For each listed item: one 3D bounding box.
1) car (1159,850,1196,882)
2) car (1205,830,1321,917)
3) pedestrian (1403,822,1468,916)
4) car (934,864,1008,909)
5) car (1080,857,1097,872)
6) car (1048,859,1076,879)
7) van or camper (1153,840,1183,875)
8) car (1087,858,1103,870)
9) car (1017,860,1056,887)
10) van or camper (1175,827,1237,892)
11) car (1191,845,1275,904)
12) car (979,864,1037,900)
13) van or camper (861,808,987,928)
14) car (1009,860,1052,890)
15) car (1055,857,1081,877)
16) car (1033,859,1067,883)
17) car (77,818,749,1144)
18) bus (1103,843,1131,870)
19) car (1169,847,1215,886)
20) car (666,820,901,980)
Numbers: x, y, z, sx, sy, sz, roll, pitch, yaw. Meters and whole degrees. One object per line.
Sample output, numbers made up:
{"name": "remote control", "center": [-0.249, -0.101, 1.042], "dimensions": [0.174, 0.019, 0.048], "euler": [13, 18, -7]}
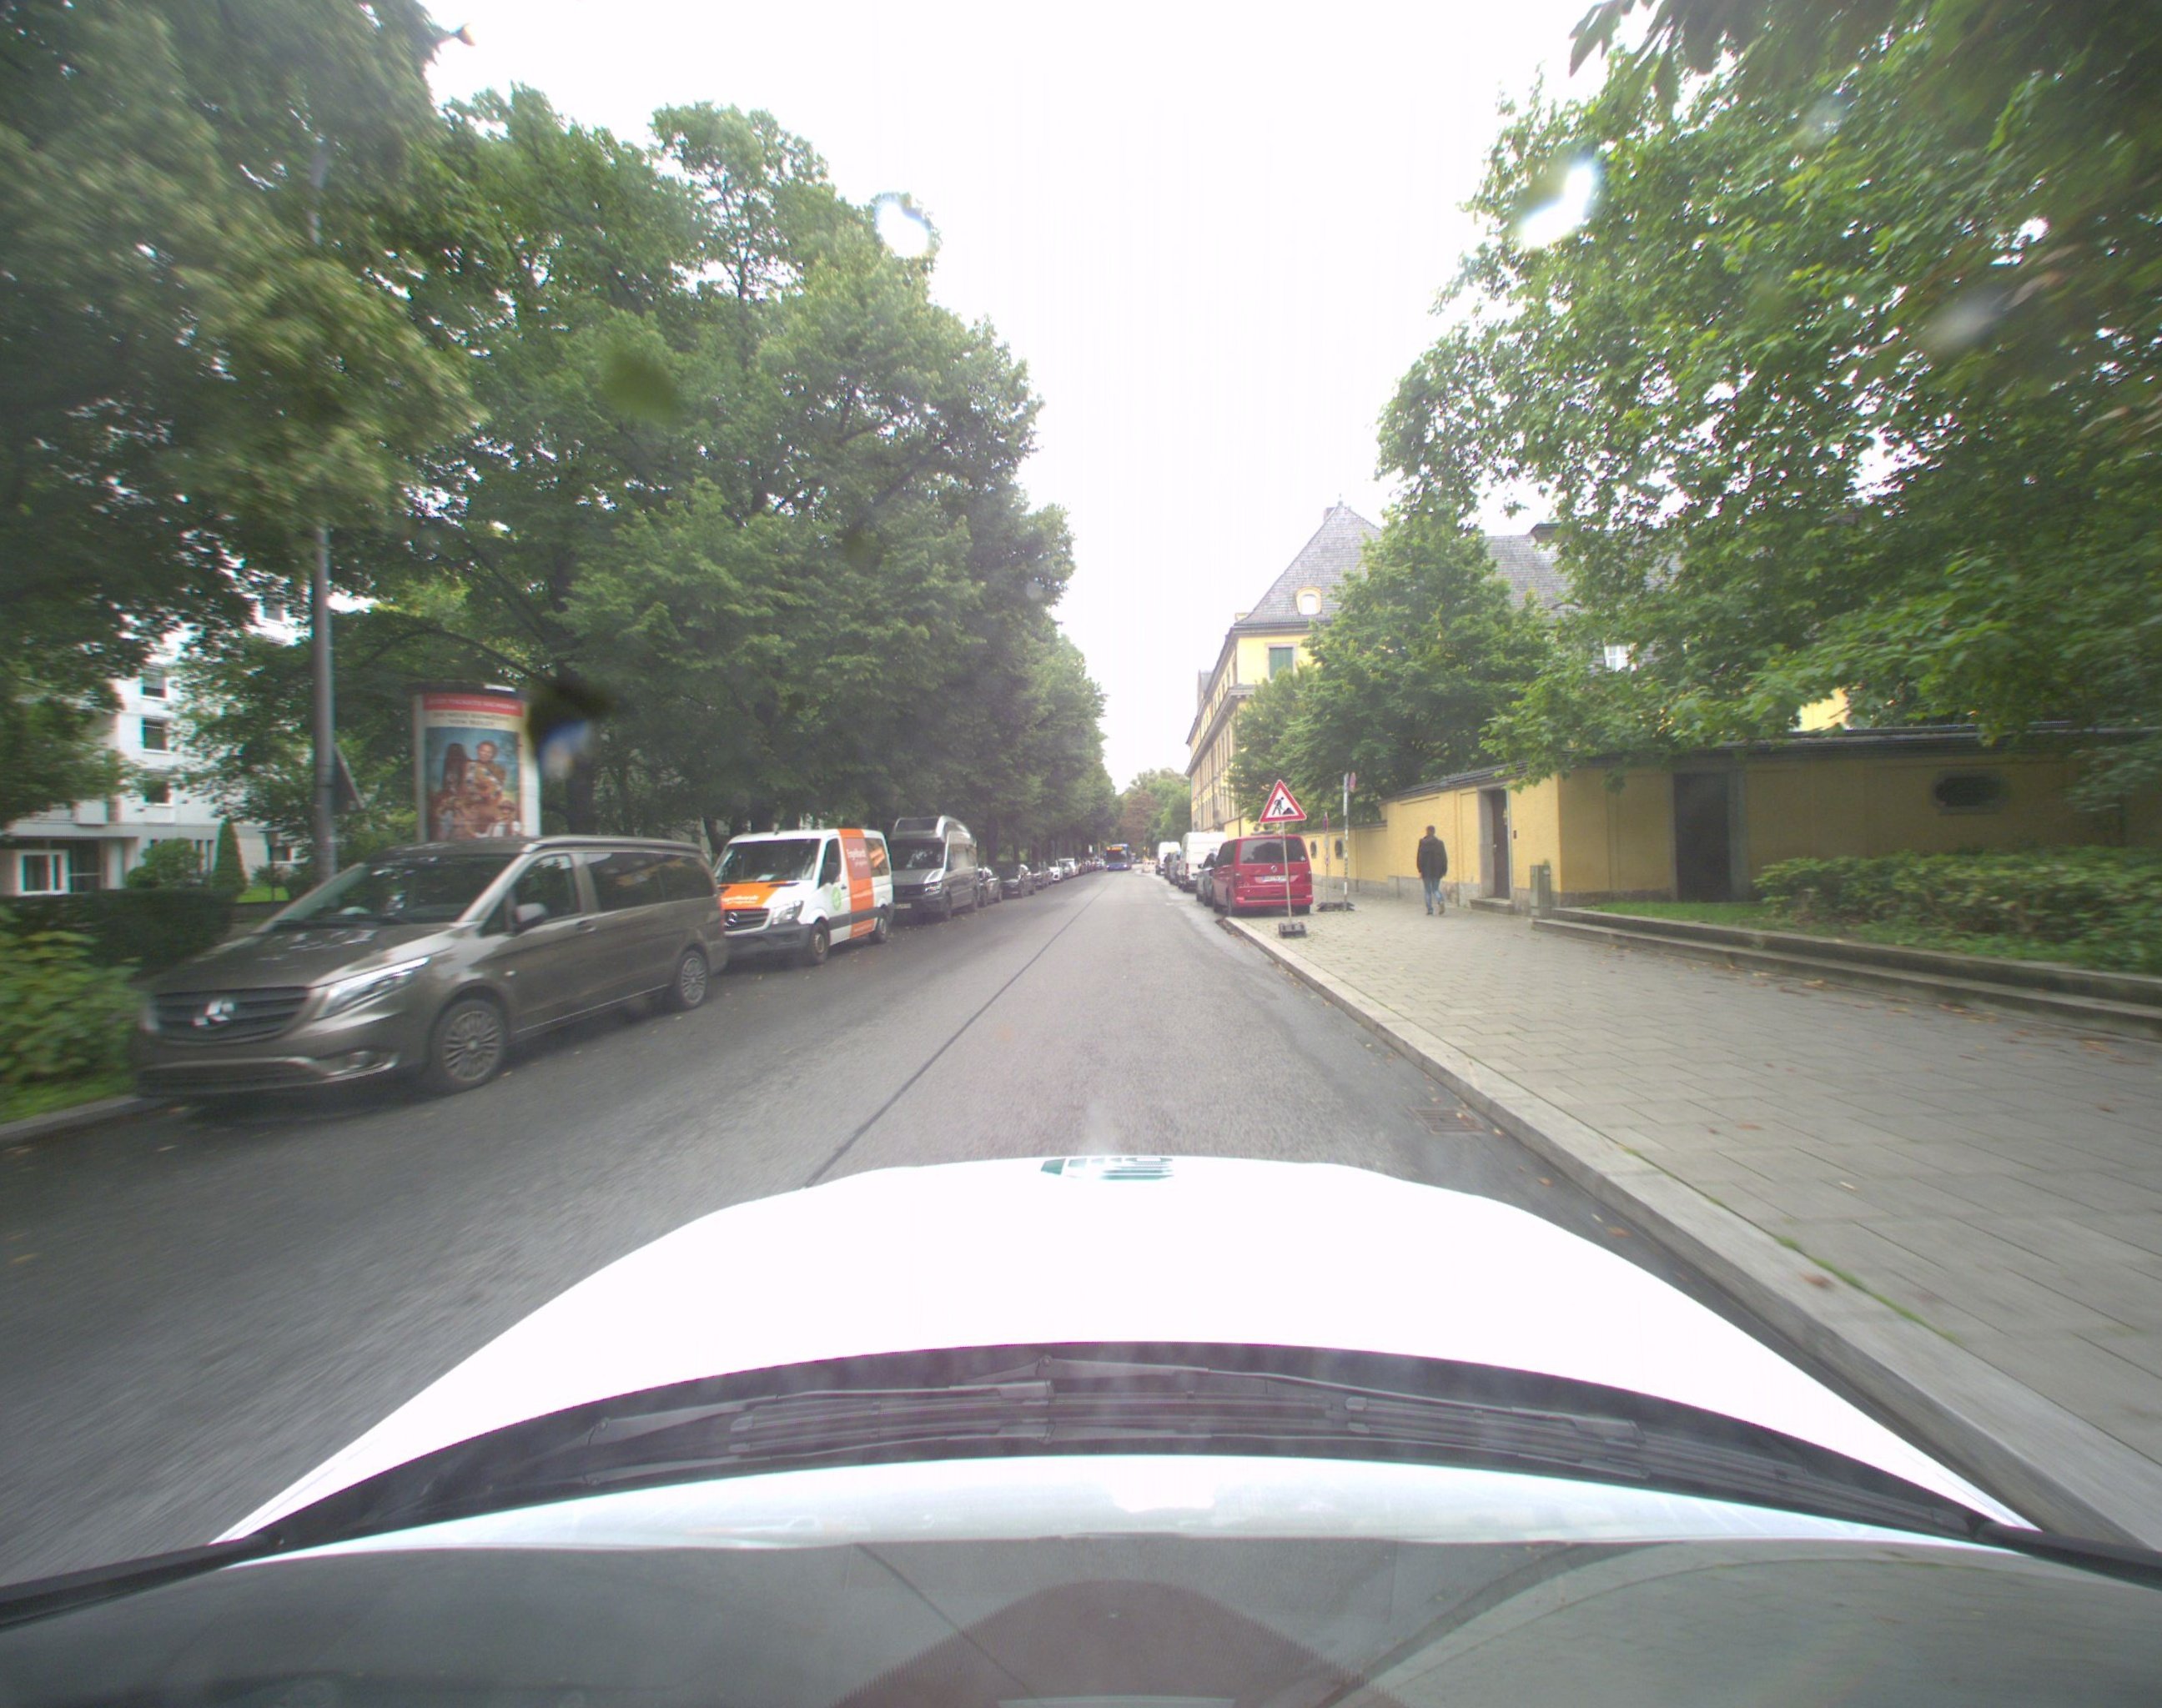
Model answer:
{"name": "car", "center": [6.160, 0.737, 52.338], "dimensions": [1.983, 1.844, 4.325], "euler": [-3, 0, 3]}
{"name": "car", "center": [4.436, 0.453, 20.585], "dimensions": [1.983, 1.839, 4.717], "euler": [-3, 0, 3]}
{"name": "pedestrian", "center": [7.228, 0.289, 16.665], "dimensions": [0.870, 1.831, 1.053], "euler": [-2, 0, 4]}
{"name": "car", "center": [-3.924, 1.116, 29.595], "dimensions": [1.866, 1.416, 4.004], "euler": [-2, 0, 3]}
{"name": "car", "center": [0.980, 1.229, 99.596], "dimensions": [1.844, 1.701, 4.004], "euler": [-2, 0, 3]}
{"name": "car", "center": [-1.499, 1.176, 64.912], "dimensions": [1.844, 1.473, 4.004], "euler": [-2, 0, 3]}
{"name": "van or camper", "center": [7.244, 0.290, 68.214], "dimensions": [2.106, 2.732, 5.248], "euler": [-3, 0, 4]}
{"name": "car", "center": [1.864, 1.330, 108.297], "dimensions": [1.844, 1.572, 4.004], "euler": [-2, 0, 3]}
{"name": "car", "center": [-2.606, 1.147, 48.872], "dimensions": [1.844, 1.473, 4.004], "euler": [-2, 0, 3]}
{"name": "van or camper", "center": [5.448, 0.230, 36.218], "dimensions": [2.123, 2.546, 5.247], "euler": [-3, 0, 3]}
{"name": "car", "center": [4.705, 0.618, 25.843], "dimensions": [1.983, 1.609, 4.325], "euler": [-3, 0, 3]}
{"name": "car", "center": [-3.083, 1.178, 35.114], "dimensions": [1.866, 1.347, 4.004], "euler": [-2, 0, 3]}
{"name": "van or camper", "center": [-4.330, 0.363, 23.624], "dimensions": [1.992, 2.945, 6.015], "euler": [-3, 0, 3]}
{"name": "car", "center": [-2.664, 1.087, 43.758], "dimensions": [1.845, 1.473, 4.002], "euler": [-2, 0, 2]}
{"name": "car", "center": [-1.100, 1.103, 70.619], "dimensions": [1.844, 1.564, 4.004], "euler": [-2, 0, 3]}
{"name": "car", "center": [-2.040, 1.090, 54.807], "dimensions": [1.844, 1.473, 4.004], "euler": [-2, 0, 3]}
{"name": "car", "center": [-5.246, 0.807, 7.696], "dimensions": [1.880, 1.933, 5.209], "euler": [-3, 0, 1]}
{"name": "bus", "center": [4.497, 0.275, 99.491], "dimensions": [2.700, 2.899, 14.572], "euler": [-2, 0, 5]}
{"name": "car", "center": [5.854, 0.646, 43.407], "dimensions": [1.983, 1.844, 4.325], "euler": [-3, 0, 3]}
{"name": "car", "center": [-4.989, 0.688, 14.685], "dimensions": [1.938, 2.272, 5.247], "euler": [-3, 0, 3]}
